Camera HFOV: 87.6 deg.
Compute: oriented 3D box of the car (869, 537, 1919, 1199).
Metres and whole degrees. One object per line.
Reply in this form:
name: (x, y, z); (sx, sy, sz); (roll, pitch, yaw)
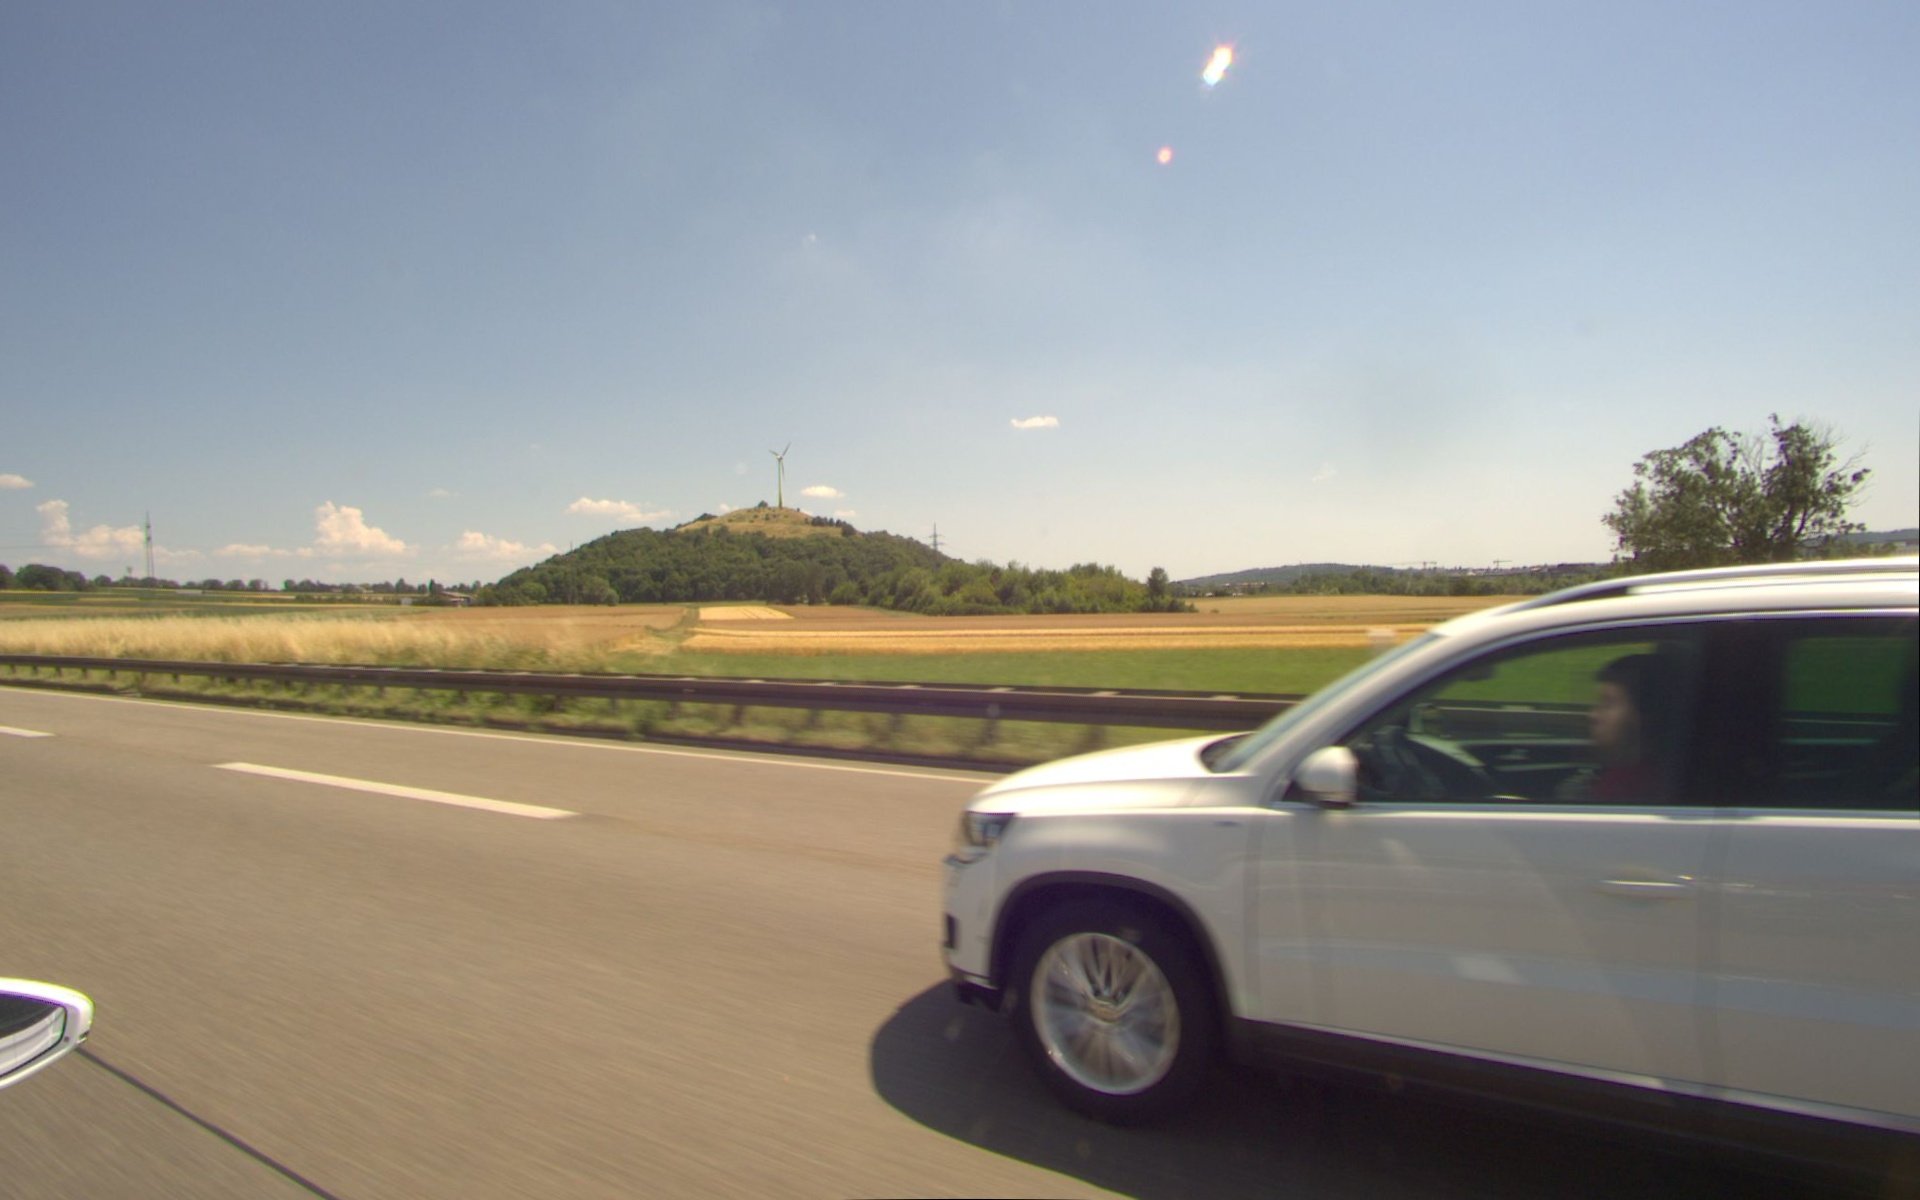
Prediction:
car: (1.909, 0.739, 3.134); (4.112, 1.666, 1.829); (-1, -2, 32)
